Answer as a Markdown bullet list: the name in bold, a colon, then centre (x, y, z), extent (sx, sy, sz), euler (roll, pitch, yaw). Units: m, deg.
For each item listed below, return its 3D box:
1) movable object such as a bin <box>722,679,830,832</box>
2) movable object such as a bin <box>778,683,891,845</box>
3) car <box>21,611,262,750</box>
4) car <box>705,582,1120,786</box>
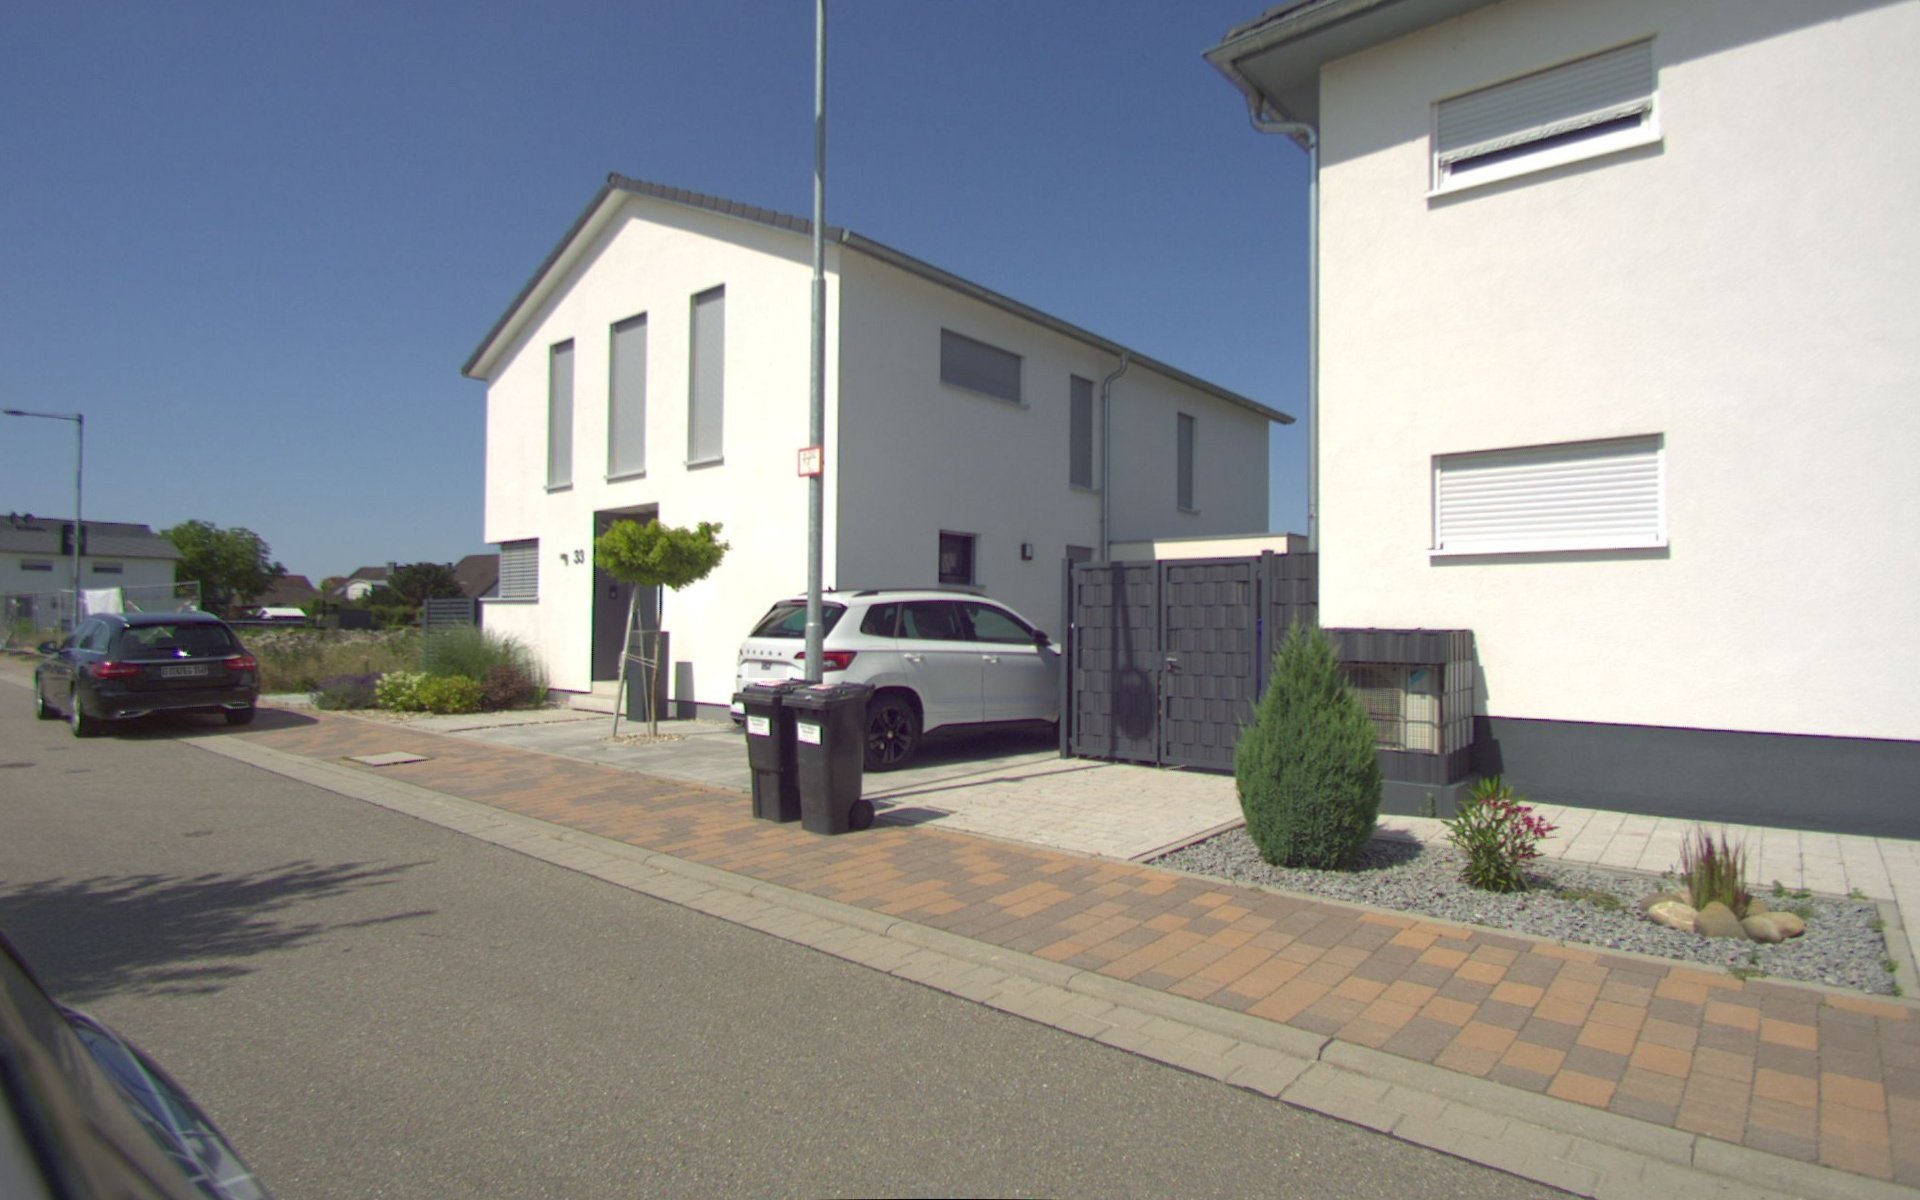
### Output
- **movable object such as a bin**: centre (-1.236, 1.018, 6.797), extent (0.530, 0.932, 0.481), euler (-1, -2, 38)
- **movable object such as a bin**: centre (-0.800, 1.016, 6.450), extent (0.530, 0.932, 0.481), euler (-1, -2, 38)
- **car**: centre (-10.710, 0.913, 13.117), extent (4.442, 1.484, 1.673), euler (-1, 0, 41)
- **car**: centre (-0.344, 0.688, 10.104), extent (3.907, 1.631, 1.796), euler (0, -1, -42)
